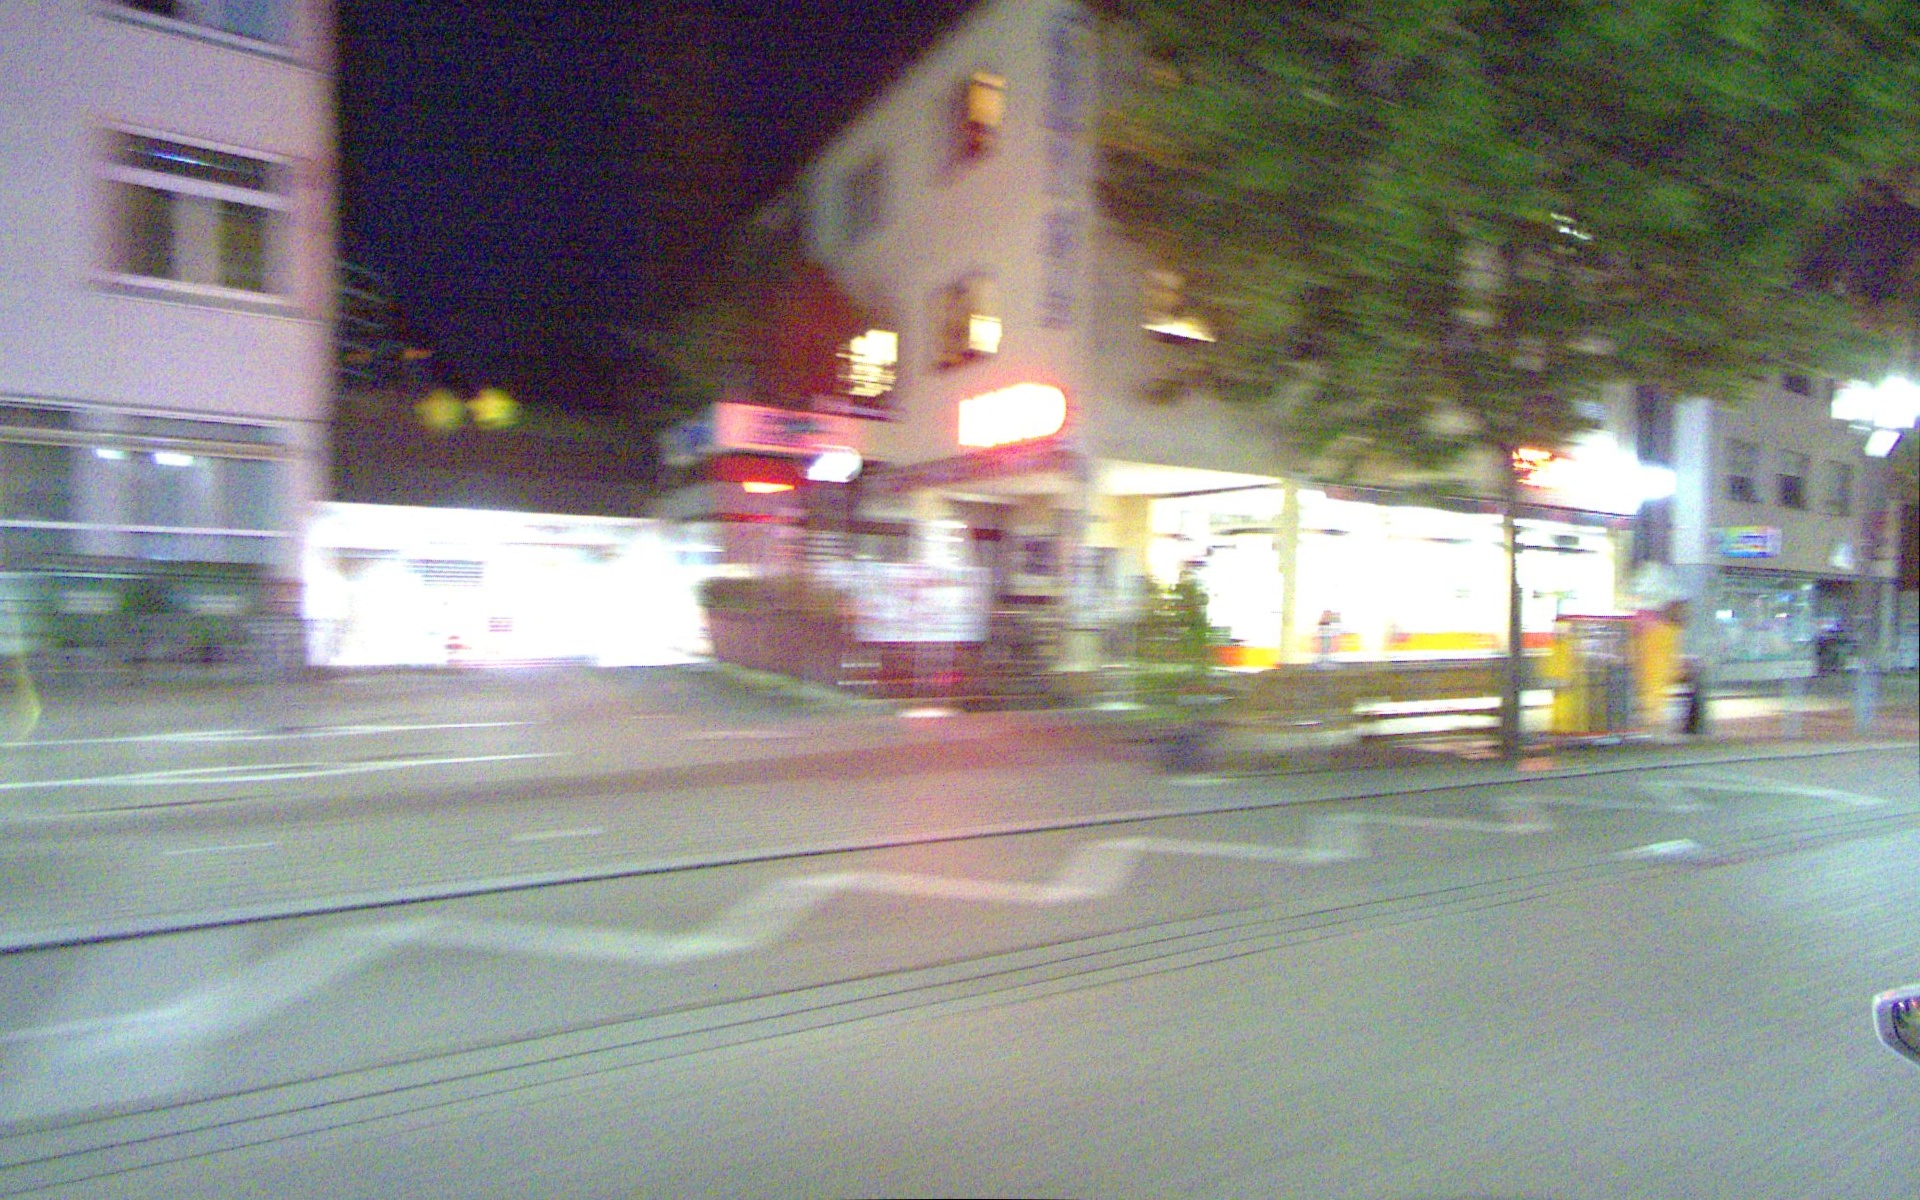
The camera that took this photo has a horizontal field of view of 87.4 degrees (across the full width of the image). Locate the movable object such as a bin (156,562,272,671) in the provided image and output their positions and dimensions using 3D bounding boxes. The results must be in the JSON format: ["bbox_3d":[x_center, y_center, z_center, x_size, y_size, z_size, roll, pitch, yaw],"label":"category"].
[{"bbox_3d":[-10.719,0.231,14.488,1.215,1.477,1.124,2,0,-33],"label":"movable object such as a bin"}]

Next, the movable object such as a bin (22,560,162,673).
[{"bbox_3d":[-11.862,0.222,13.786,1.272,1.463,1.030,2,0,-33],"label":"movable object such as a bin"}]
